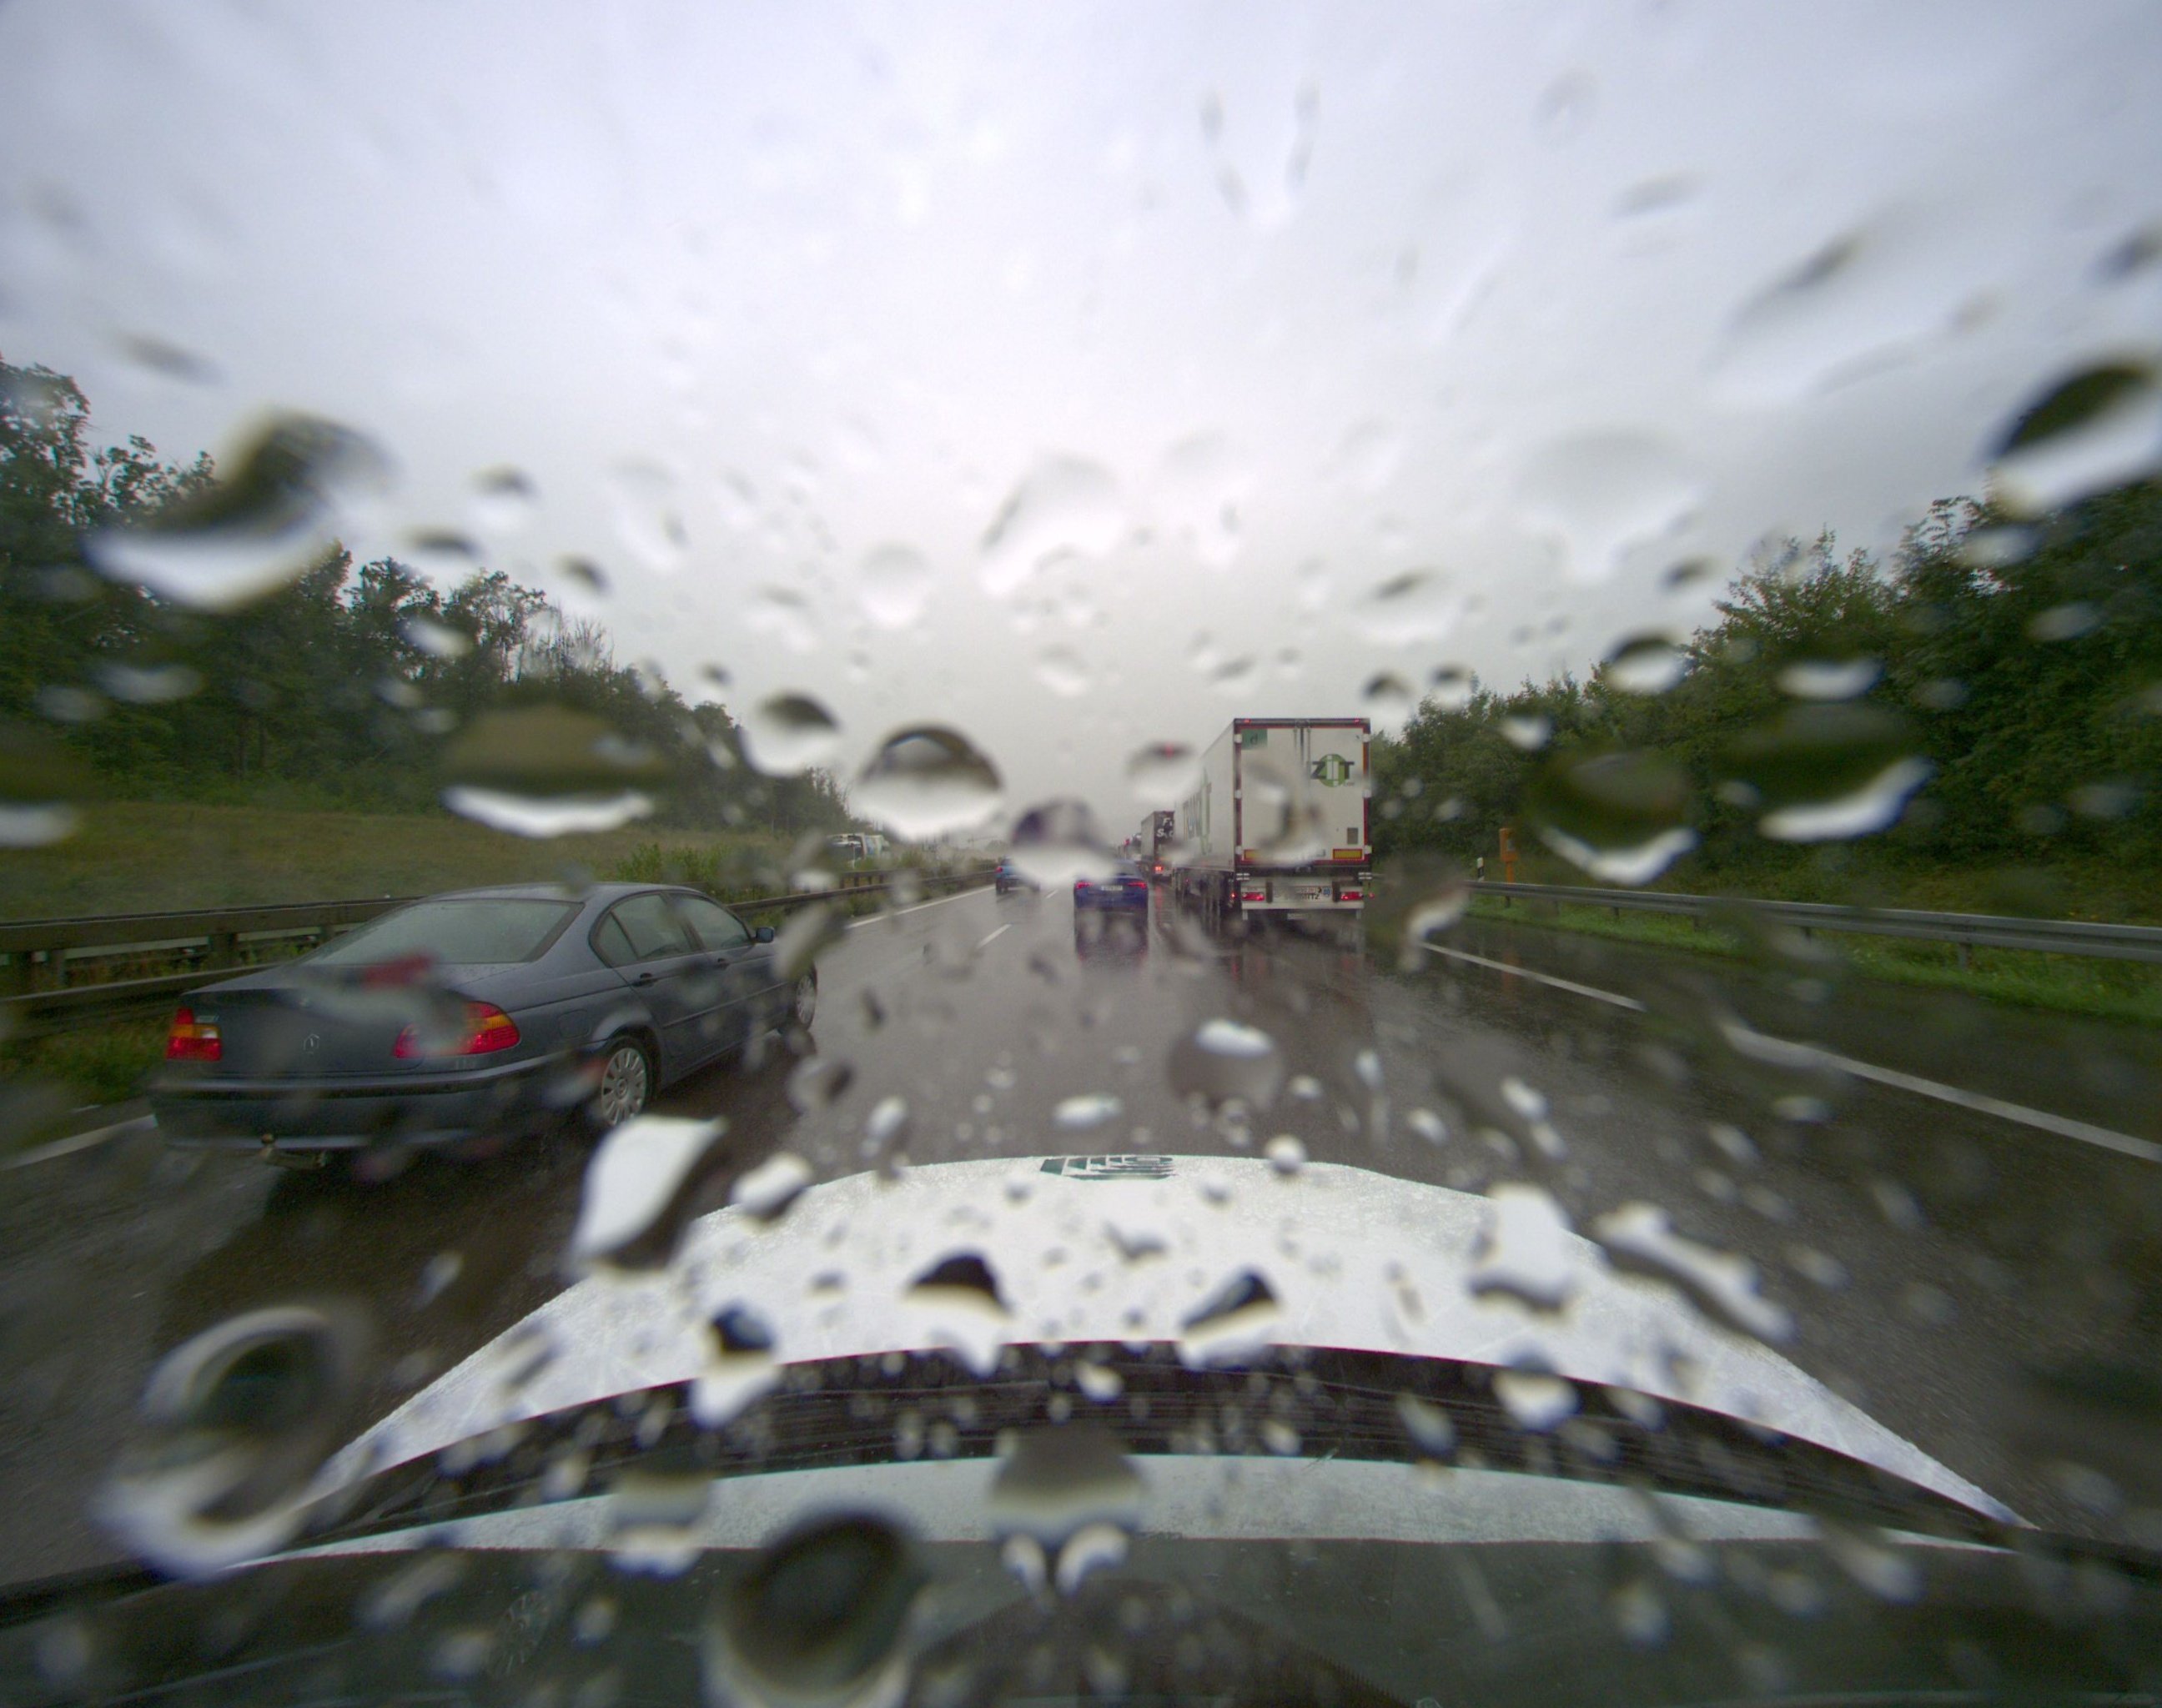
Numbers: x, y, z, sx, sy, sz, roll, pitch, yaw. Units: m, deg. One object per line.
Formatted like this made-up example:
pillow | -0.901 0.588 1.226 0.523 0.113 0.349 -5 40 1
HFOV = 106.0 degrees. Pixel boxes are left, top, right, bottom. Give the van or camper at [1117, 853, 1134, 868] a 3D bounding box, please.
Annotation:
van or camper | 5.183 0.764 95.429 1.765 1.625 4.485 -1 0 1

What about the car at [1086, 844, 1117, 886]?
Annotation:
car | 0.929 0.461 36.841 1.332 1.780 3.323 -1 0 2

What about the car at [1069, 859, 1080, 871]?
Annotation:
car | -0.975 1.610 124.812 1.443 1.784 3.410 -1 0 2

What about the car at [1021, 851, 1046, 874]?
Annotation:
car | -3.123 0.556 54.163 1.354 1.431 3.365 -1 0 2

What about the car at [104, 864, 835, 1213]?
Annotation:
car | -3.229 0.806 5.557 1.712 1.400 4.230 -1 0 1

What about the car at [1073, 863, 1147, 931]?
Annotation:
car | 0.739 0.986 20.196 1.629 1.445 4.002 -1 0 2

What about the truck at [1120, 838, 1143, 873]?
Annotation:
truck | 5.242 0.097 85.668 1.987 3.421 8.032 -1 0 1

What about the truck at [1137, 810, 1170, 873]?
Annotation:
truck | 5.044 -0.850 57.142 2.039 4.193 4.002 -1 0 2

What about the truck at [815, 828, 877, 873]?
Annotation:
truck | -15.330 -0.191 53.453 2.471 2.719 4.530 -3 -2 3

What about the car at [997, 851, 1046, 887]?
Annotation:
car | -2.640 0.643 37.139 1.715 1.523 4.003 -1 0 3

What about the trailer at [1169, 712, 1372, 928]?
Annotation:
trailer | 4.360 -0.658 22.668 2.620 4.013 14.635 -1 0 2

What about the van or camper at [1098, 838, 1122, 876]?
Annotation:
van or camper | 2.297 0.223 64.212 1.791 2.806 4.769 -1 0 2

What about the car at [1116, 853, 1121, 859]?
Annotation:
car | 10.474 0.516 226.524 1.443 1.784 3.410 -1 0 2

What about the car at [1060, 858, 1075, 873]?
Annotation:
car | -1.403 1.199 86.027 1.434 1.533 3.323 -1 0 2

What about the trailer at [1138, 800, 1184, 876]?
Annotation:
trailer | 4.823 -0.884 50.644 2.039 4.176 11.452 -1 0 2

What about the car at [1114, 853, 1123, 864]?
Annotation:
car | 6.251 0.805 136.671 1.443 1.784 3.410 -1 0 2

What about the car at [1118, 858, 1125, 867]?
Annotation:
car | 7.390 1.579 148.417 1.244 1.512 3.109 -2 1 1

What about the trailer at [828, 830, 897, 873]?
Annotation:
trailer | -15.157 -0.098 57.023 2.471 2.719 7.328 -3 -1 3

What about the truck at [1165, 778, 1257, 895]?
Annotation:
truck | 4.568 -0.595 29.363 2.621 3.827 4.793 -1 0 2

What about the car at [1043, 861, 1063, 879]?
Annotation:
car | -2.417 1.391 70.626 1.434 1.420 3.323 -1 0 2
